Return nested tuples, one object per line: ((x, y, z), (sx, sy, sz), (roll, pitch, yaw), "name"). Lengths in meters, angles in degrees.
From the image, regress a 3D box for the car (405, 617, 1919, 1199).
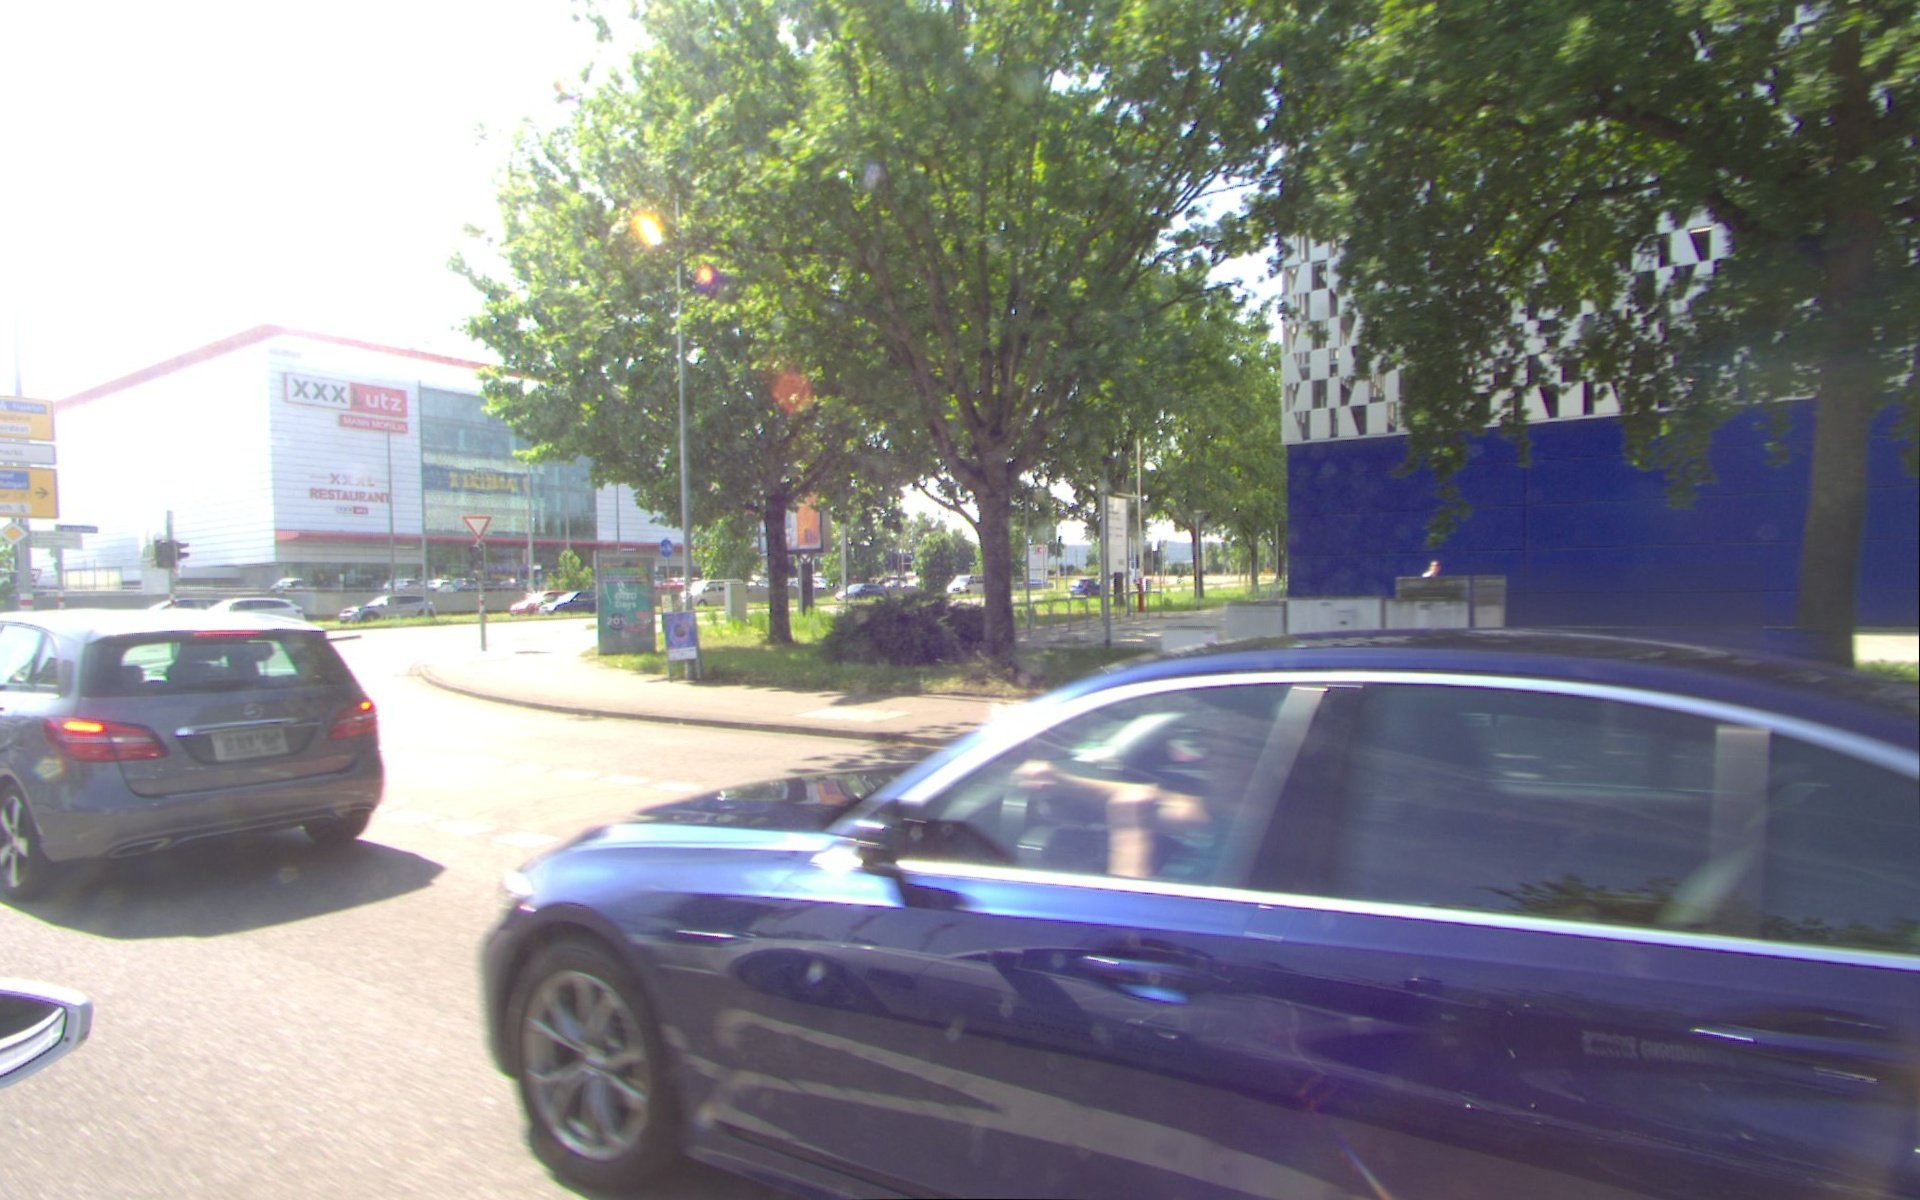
((0.740, 0.778, 2.518), (4.472, 1.448, 1.792), (0, 0, 32), "car")

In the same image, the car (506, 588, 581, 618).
((-22.838, 0.132, 55.001), (1.578, 1.597, 3.457), (0, 1, 36), "car")

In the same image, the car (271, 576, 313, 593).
((-59.657, -1.366, 89.395), (4.143, 1.439, 1.765), (0, 1, 35), "car")

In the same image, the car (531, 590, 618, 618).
((-20.516, 0.204, 53.420), (1.701, 1.360, 4.032), (-1, 0, 35), "car")

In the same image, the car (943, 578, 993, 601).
((0.742, -0.959, 88.367), (1.890, 1.961, 4.756), (-2, 0, 37), "car")

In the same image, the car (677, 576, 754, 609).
((-15.799, -0.529, 64.824), (1.937, 2.002, 4.658), (-2, 0, 36), "car")

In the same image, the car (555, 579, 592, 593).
((-41.249, -1.536, 106.874), (4.143, 1.439, 1.730), (0, 1, 35), "car")

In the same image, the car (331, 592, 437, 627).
((-27.796, 0.441, 48.439), (1.883, 1.529, 4.015), (-1, 1, 35), "car")

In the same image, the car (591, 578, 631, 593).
((-34.746, -1.446, 99.686), (4.054, 1.439, 1.679), (0, 1, 35), "car")

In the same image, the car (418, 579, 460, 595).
((-49.273, -1.254, 94.625), (4.143, 1.439, 1.826), (0, 1, 35), "car")

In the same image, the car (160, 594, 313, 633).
((-29.648, 0.527, 41.173), (1.933, 1.444, 4.701), (-1, 0, 35), "car")

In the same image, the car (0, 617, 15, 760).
((-11.496, 0.887, 10.302), (3.628, 1.433, 1.664), (0, 0, 31), "car")

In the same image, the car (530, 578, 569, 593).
((-43.073, -1.523, 105.045), (4.143, 1.439, 1.799), (0, 1, 35), "car")

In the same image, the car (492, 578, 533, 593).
((-45.267, -1.479, 101.211), (4.143, 1.439, 1.894), (0, 1, 35), "car")

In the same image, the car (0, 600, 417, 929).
((-5.603, 0.786, 6.603), (4.077, 1.559, 1.770), (0, 0, 32), "car")

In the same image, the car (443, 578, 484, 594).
((-48.250, -1.359, 97.297), (4.143, 1.439, 1.866), (0, 1, 35), "car")

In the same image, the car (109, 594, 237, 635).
((-32.800, 0.560, 41.822), (1.785, 1.579, 3.871), (0, 1, 36), "car")

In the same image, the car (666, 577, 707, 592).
((-27.573, -1.546, 101.019), (4.051, 1.439, 1.783), (0, 1, 33), "car")

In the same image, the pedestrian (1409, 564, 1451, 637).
((10.394, 0.006, 22.120), (0.769, 1.567, 0.677), (0, 2, 32), "pedestrian")

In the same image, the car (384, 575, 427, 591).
((-51.358, -1.554, 92.715), (3.950, 1.439, 1.795), (0, 1, 32), "car")

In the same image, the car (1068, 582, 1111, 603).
((10.178, -0.593, 78.422), (1.620, 1.556, 3.889), (0, 1, 37), "car")

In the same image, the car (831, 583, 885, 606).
((-7.621, -0.436, 75.153), (1.662, 1.642, 4.101), (0, 1, 37), "car")
